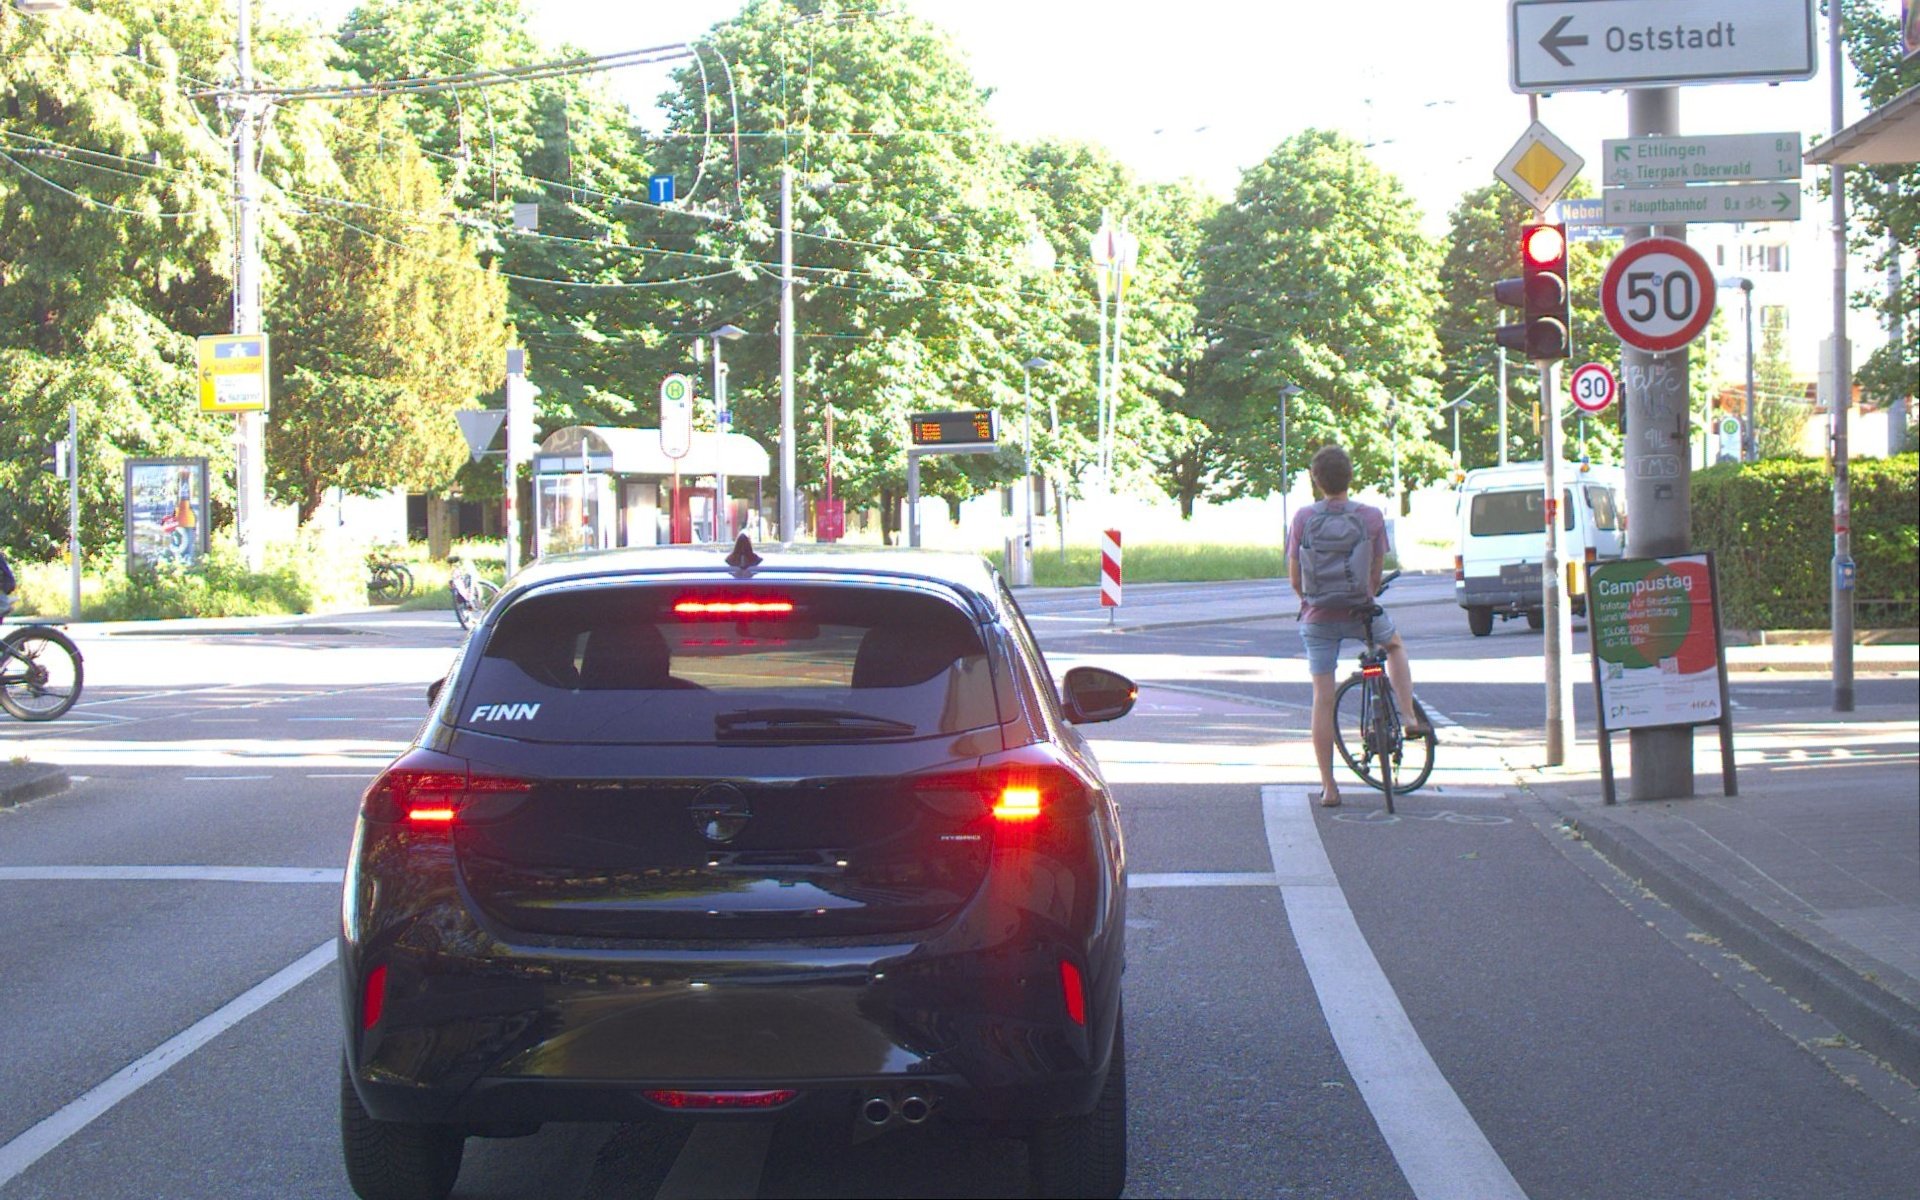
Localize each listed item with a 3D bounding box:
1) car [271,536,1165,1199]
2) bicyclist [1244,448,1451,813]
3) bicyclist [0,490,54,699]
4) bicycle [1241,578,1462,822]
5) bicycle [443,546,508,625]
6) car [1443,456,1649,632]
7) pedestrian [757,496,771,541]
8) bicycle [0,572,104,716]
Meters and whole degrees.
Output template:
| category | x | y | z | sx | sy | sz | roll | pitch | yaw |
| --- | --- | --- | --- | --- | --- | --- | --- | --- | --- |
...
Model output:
| category | x | y | z | sx | sy | sz | roll | pitch | yaw |
| --- | --- | --- | --- | --- | --- | --- | --- | --- | --- |
| car | -0.485 | 0.560 | 8.762 | 1.727 | 1.424 | 4.187 | 0 | 1 | 0 |
| bicyclist | 2.005 | 0.144 | 17.900 | 0.941 | 1.845 | 0.864 | -1 | 1 | -1 |
| bicyclist | -7.342 | -0.045 | 25.395 | 1.112 | 1.515 | 0.922 | -1 | 1 | -23 |
| bicycle | 2.015 | 0.487 | 18.008 | 0.860 | 1.149 | 2.172 | -1 | 1 | -1 |
| bicycle | -6.541 | -0.210 | 46.488 | 0.605 | 1.028 | 1.982 | -1 | 1 | -1 |
| car | 7.985 | -0.778 | 46.466 | 2.065 | 2.241 | 4.883 | 0 | 1 | 18 |
| pedestrian | -6.066 | -2.522 | 106.470 | 0.412 | 1.408 | 0.436 | 1 | 0 | -3 |
| bicycle | -7.501 | 0.332 | 25.360 | 2.190 | 1.029 | 0.835 | -1 | 1 | -23 |
